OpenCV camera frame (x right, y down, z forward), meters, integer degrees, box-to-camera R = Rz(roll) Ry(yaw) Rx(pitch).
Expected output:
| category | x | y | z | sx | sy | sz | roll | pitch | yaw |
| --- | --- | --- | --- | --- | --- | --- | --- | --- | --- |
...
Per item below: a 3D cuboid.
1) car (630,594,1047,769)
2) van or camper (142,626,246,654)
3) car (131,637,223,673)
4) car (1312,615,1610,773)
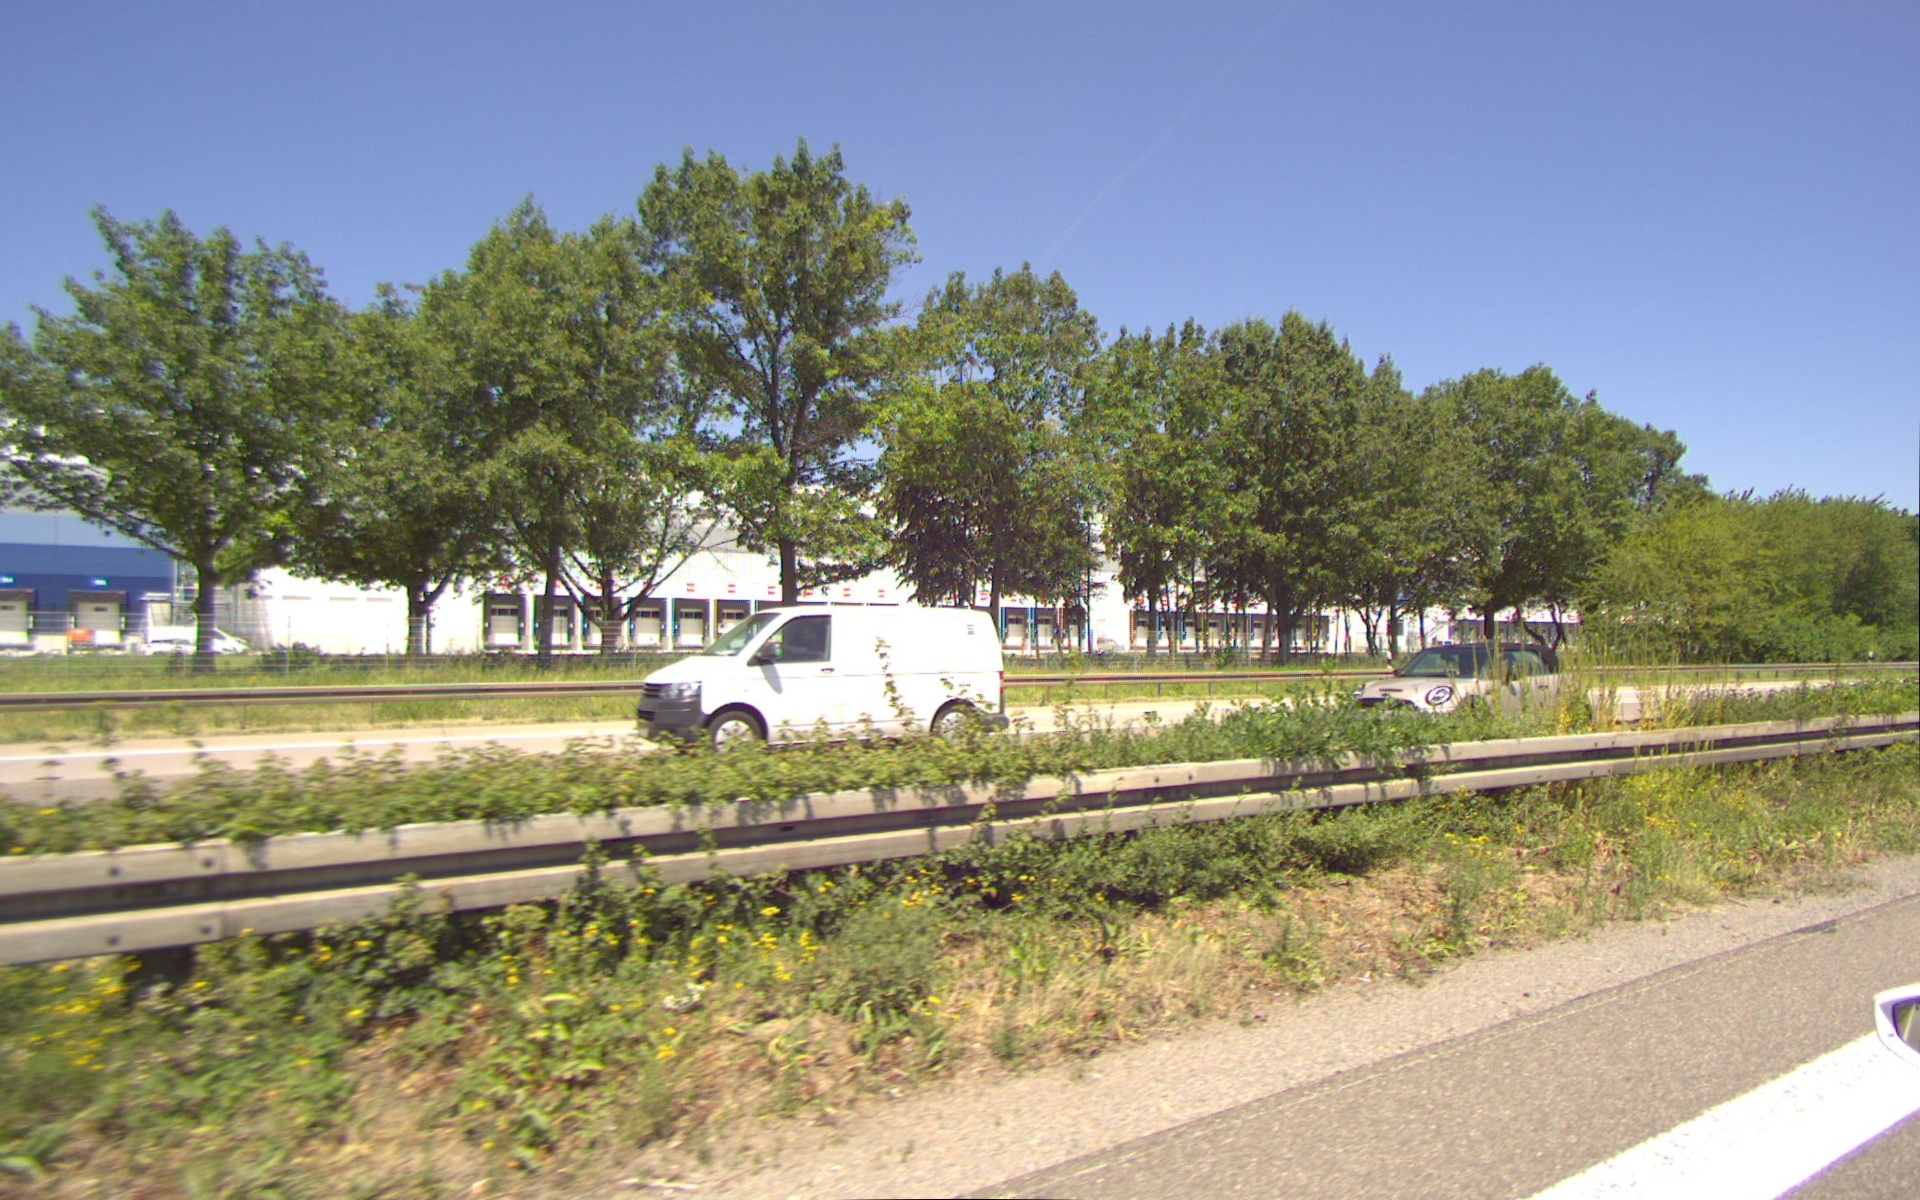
| category | x | y | z | sx | sy | sz | roll | pitch | yaw |
| --- | --- | --- | --- | --- | --- | --- | --- | --- | --- |
| car | -1.504 | 1.000 | 13.319 | 5.153 | 1.937 | 1.985 | 2 | -3 | -32 |
| van or camper | -48.307 | 2.539 | 63.481 | 4.961 | 1.674 | 1.984 | 1 | -2 | -30 |
| car | -45.799 | 3.173 | 58.886 | 3.953 | 2.040 | 1.984 | 1 | -2 | -30 |
| car | 7.101 | 1.234 | 14.200 | 3.955 | 1.937 | 1.985 | 2 | -3 | -32 |
